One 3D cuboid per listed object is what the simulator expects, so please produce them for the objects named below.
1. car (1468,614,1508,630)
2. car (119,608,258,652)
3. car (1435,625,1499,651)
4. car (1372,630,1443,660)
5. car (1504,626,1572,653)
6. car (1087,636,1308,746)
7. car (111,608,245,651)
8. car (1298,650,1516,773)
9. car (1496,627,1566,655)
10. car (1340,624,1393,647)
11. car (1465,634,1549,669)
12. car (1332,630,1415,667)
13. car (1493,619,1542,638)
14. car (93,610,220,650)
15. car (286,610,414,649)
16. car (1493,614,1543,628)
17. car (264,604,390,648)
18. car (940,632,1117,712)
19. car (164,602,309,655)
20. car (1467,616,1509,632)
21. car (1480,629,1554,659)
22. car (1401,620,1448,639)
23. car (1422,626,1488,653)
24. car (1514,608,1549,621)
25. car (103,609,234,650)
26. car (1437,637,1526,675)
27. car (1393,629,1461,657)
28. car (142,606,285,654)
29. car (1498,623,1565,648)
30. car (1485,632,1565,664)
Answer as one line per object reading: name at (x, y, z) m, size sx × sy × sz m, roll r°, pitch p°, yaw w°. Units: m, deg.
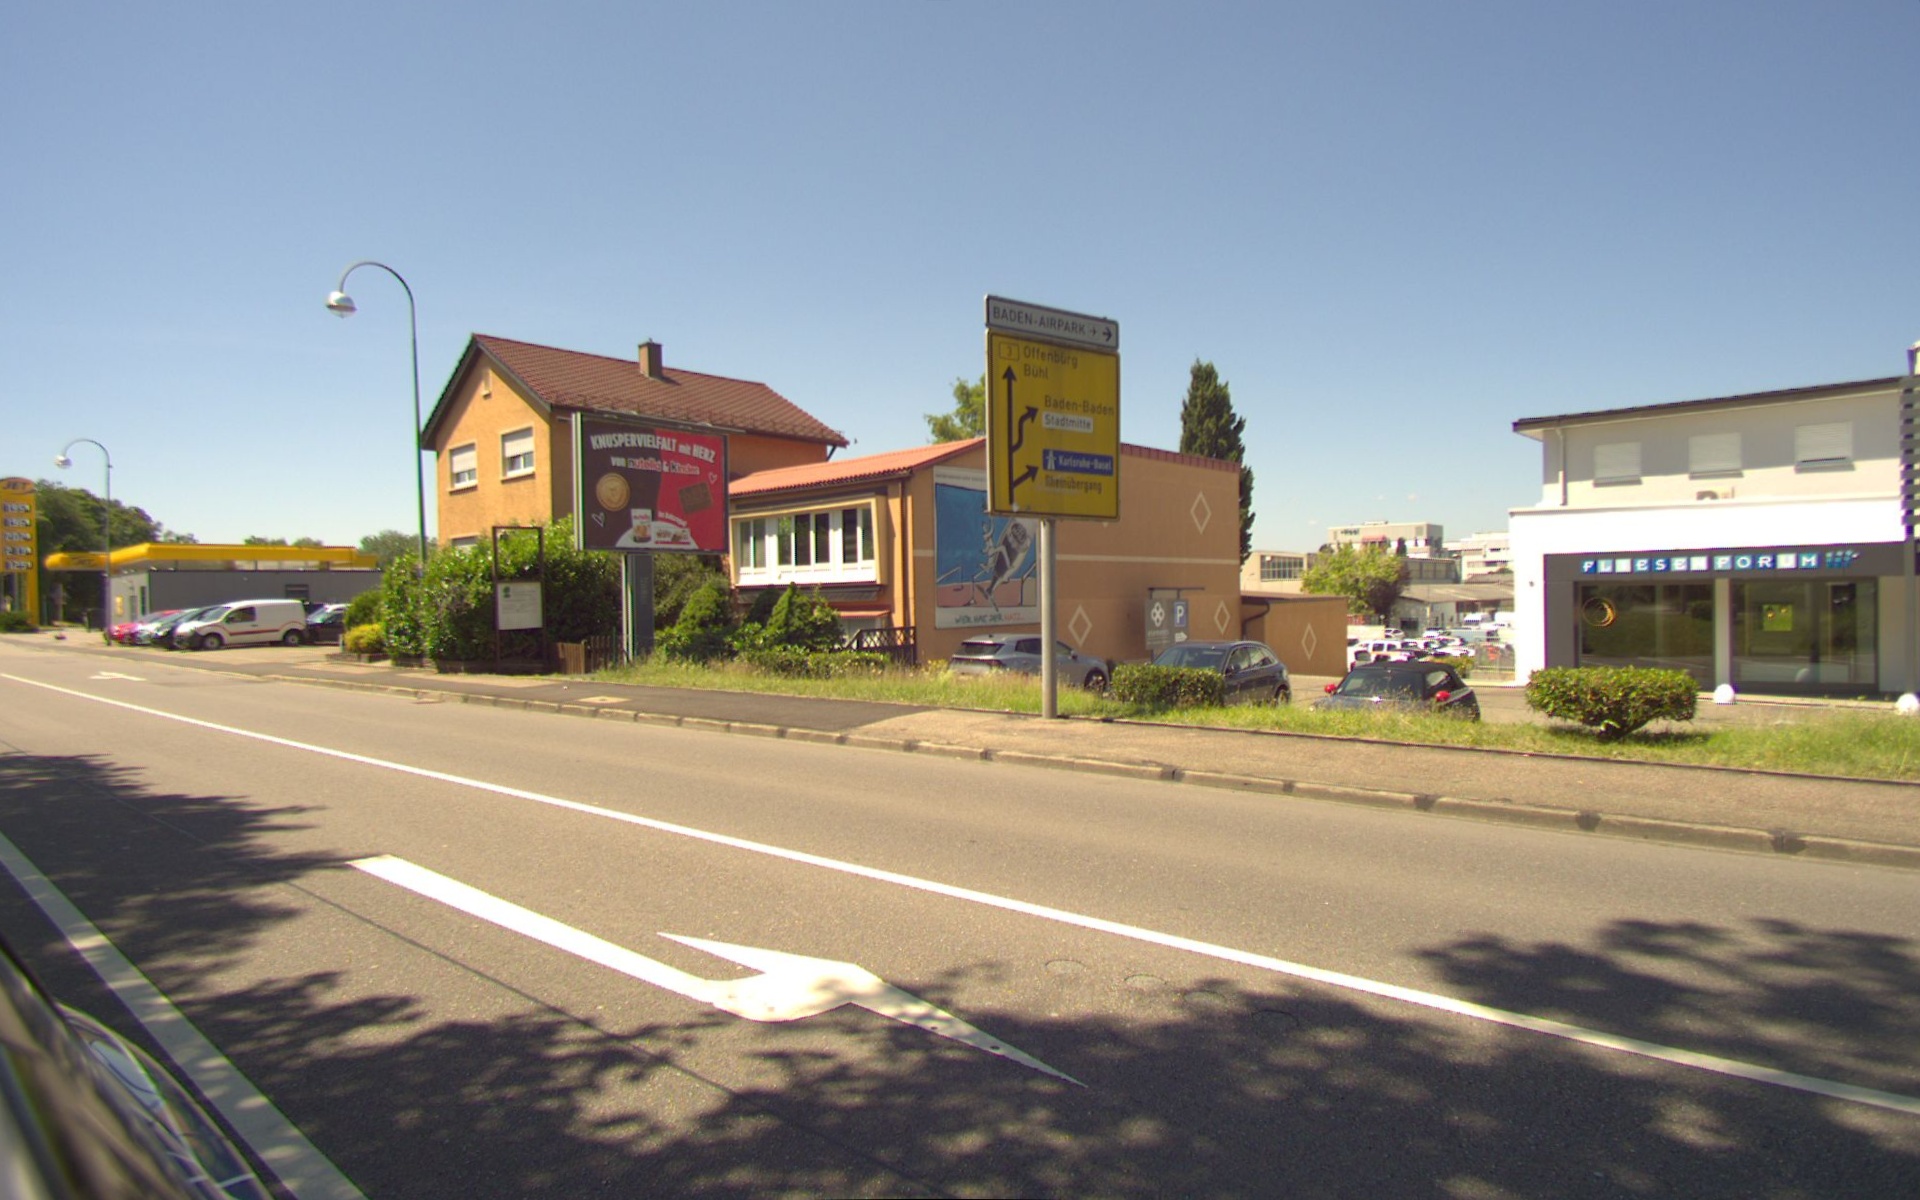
car at (61.519, 2.572, 117.886) m, size 3.774 × 1.768 × 1.707 m, roll -1°, pitch 0°, yaw 44°
car at (-32.658, 1.238, 42.971) m, size 1.871 × 1.773 × 4.351 m, roll -1°, pitch -1°, yaw 35°
car at (36.467, 2.729, 72.885) m, size 3.774 × 1.768 × 1.707 m, roll -1°, pitch -1°, yaw 44°
car at (28.296, 2.828, 64.046) m, size 3.774 × 1.768 × 1.707 m, roll -1°, pitch -1°, yaw 44°
car at (39.793, 2.689, 69.695) m, size 3.774 × 1.768 × 1.707 m, roll -1°, pitch -1°, yaw 44°
car at (4.427, 1.534, 18.449) m, size 4.462 × 1.654 × 1.772 m, roll 0°, pitch -1°, yaw -44°
car at (-34.398, 1.272, 44.634) m, size 1.871 × 1.773 × 4.351 m, roll -1°, pitch -1°, yaw 35°
car at (7.224, 1.657, 16.163) m, size 4.039 × 1.544 × 1.772 m, roll 0°, pitch -1°, yaw -44°
car at (37.993, 2.708, 67.385) m, size 3.774 × 1.768 × 1.707 m, roll -1°, pitch -1°, yaw 44°
car at (33.950, 2.945, 84.550) m, size 3.774 × 1.768 × 1.707 m, roll -1°, pitch -1°, yaw 44°
car at (30.247, 2.816, 55.997) m, size 3.774 × 1.768 × 1.707 m, roll -1°, pitch -1°, yaw 44°
car at (24.008, 2.770, 58.862) m, size 4.001 × 2.029 × 1.971 m, roll -1°, pitch -1°, yaw 44°
car at (53.068, 2.689, 96.333) m, size 3.774 × 1.768 × 1.707 m, roll -1°, pitch -1°, yaw 44°
car at (-37.772, 1.388, 47.681) m, size 1.871 × 1.773 × 4.351 m, roll -1°, pitch -1°, yaw 35°
car at (-26.128, 1.224, 43.480) m, size 1.871 × 1.575 × 4.351 m, roll -1°, pitch -1°, yaw 35°
car at (71.540, 2.638, 129.846) m, size 5.303 × 1.768 × 2.037 m, roll -1°, pitch -1°, yaw 44°
car at (-27.917, 1.127, 44.765) m, size 1.871 × 1.839 × 4.351 m, roll -1°, pitch -1°, yaw 35°
car at (1.680, 1.608, 23.757) m, size 4.165 × 1.621 × 1.773 m, roll 0°, pitch -1°, yaw -42°
car at (-27.572, 1.046, 38.692) m, size 1.871 × 1.883 × 4.143 m, roll -1°, pitch -1°, yaw 35°
car at (58.771, 2.647, 112.620) m, size 3.774 × 1.768 × 1.707 m, roll -1°, pitch -1°, yaw 44°
car at (35.142, 2.754, 63.911) m, size 3.774 × 1.768 × 1.707 m, roll -1°, pitch -1°, yaw 44°
car at (44.709, 2.859, 97.523) m, size 3.774 × 1.768 × 1.707 m, roll -1°, pitch -2°, yaw 44°
car at (34.541, 2.752, 70.674) m, size 3.774 × 1.768 × 1.707 m, roll -1°, pitch -1°, yaw 44°
car at (76.813, 1.967, 136.127) m, size 3.774 × 1.768 × 1.707 m, roll -1°, pitch -1°, yaw 44°
car at (-35.890, 1.295, 45.994) m, size 1.871 × 1.773 × 4.351 m, roll -1°, pitch -1°, yaw 35°
car at (26.937, 2.861, 52.325) m, size 3.774 × 1.768 × 1.707 m, roll -1°, pitch -1°, yaw 44°
car at (31.105, 2.815, 67.431) m, size 3.774 × 1.768 × 1.707 m, roll -1°, pitch -1°, yaw 44°
car at (-29.305, 1.143, 39.835) m, size 1.871 × 1.773 × 4.198 m, roll -1°, pitch -1°, yaw 35°
car at (42.630, 2.643, 75.523) m, size 4.055 × 1.768 × 1.707 m, roll -1°, pitch -1°, yaw 44°
car at (33.064, 2.778, 59.255) m, size 3.774 × 1.768 × 1.707 m, roll -1°, pitch -1°, yaw 44°
